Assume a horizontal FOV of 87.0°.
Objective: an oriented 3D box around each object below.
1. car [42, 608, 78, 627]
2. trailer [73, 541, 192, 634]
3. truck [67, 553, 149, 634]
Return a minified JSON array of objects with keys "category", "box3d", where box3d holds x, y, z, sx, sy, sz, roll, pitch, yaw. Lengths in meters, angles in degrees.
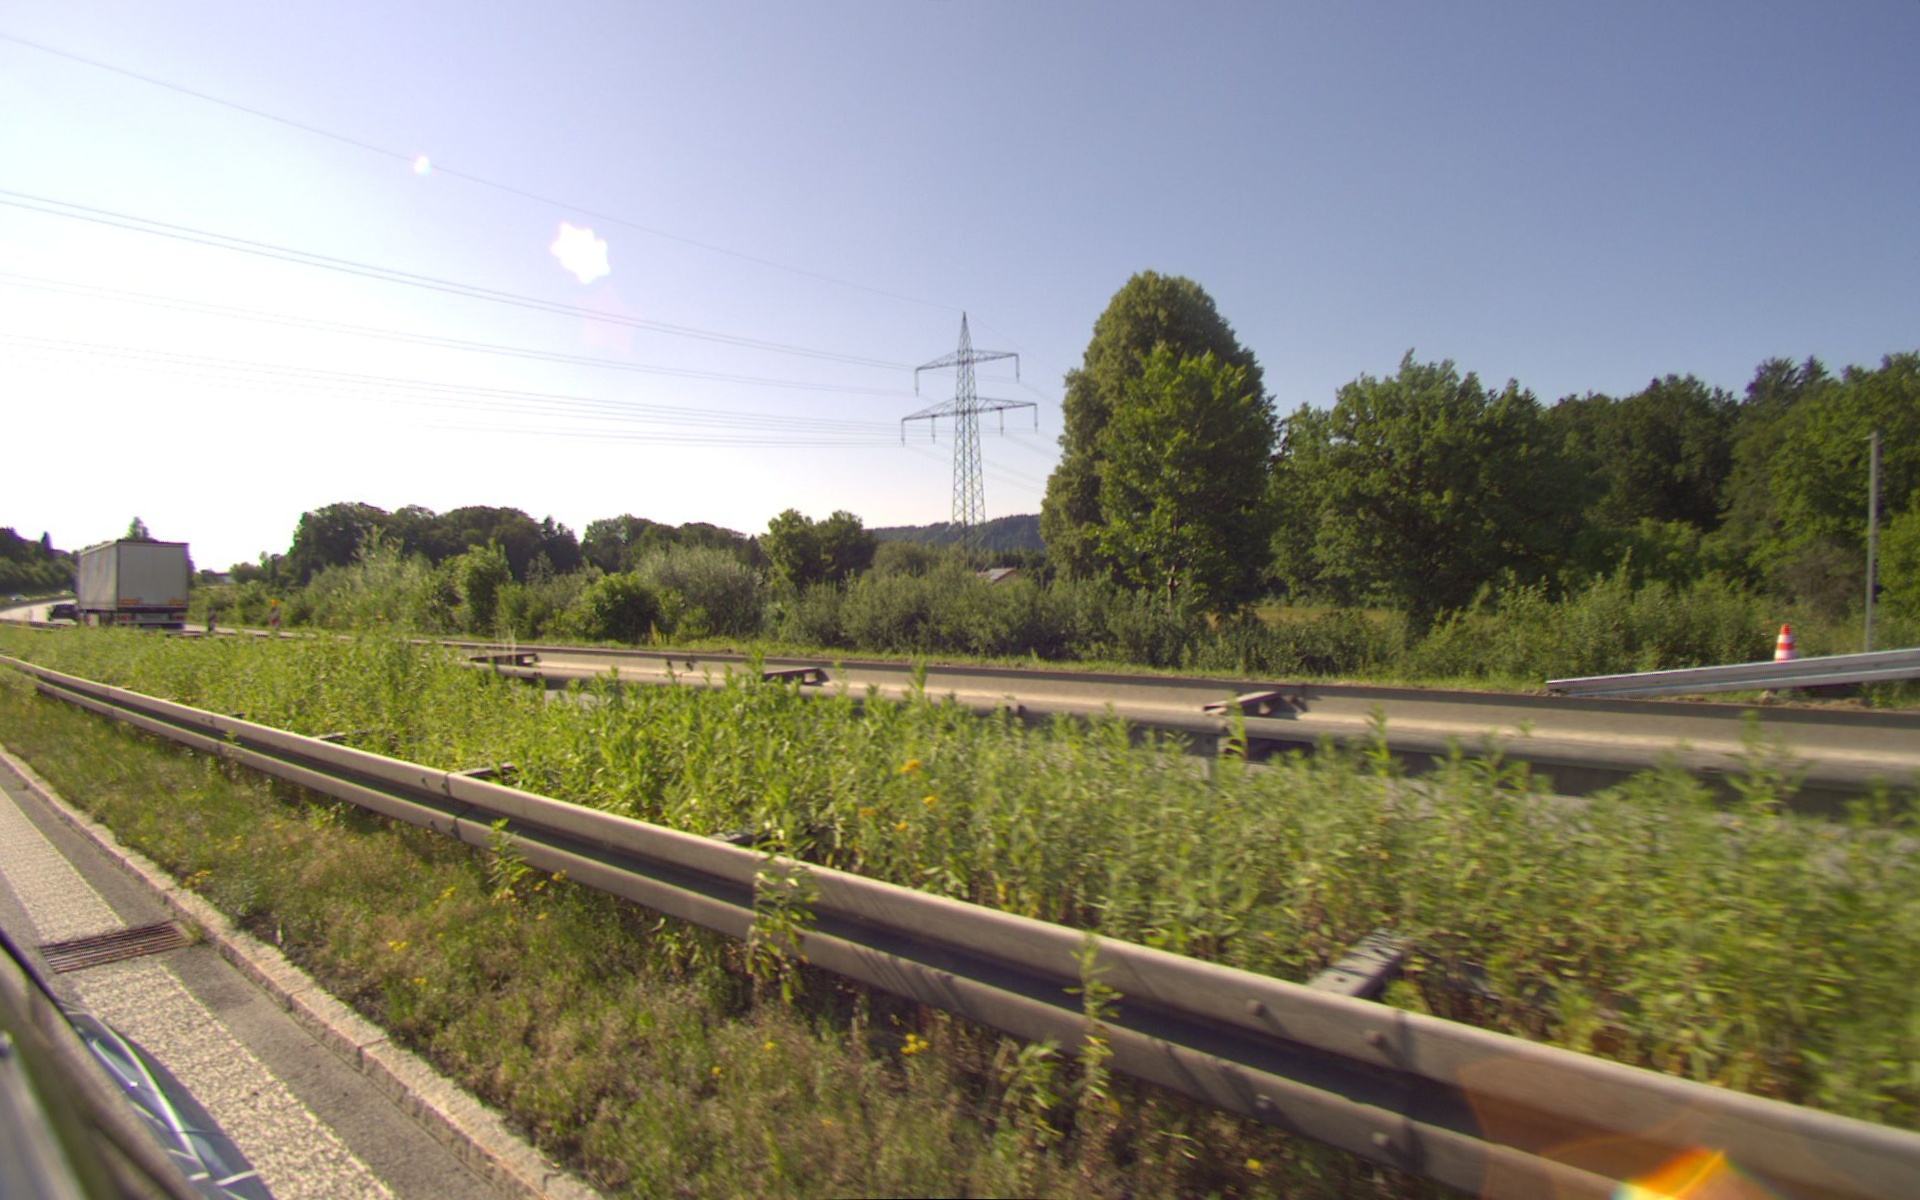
[{"category":"car","box3d":[-70.725,1.370,79.535,4.269,1.440,1.757,-1,-1,44]},{"category":"trailer","box3d":[-40.126,-0.399,48.784,13.768,3.984,2.650,-2,-1,43]},{"category":"truck","box3d":[-44.713,-0.296,53.085,5.842,3.989,2.604,-1,0,43]}]
